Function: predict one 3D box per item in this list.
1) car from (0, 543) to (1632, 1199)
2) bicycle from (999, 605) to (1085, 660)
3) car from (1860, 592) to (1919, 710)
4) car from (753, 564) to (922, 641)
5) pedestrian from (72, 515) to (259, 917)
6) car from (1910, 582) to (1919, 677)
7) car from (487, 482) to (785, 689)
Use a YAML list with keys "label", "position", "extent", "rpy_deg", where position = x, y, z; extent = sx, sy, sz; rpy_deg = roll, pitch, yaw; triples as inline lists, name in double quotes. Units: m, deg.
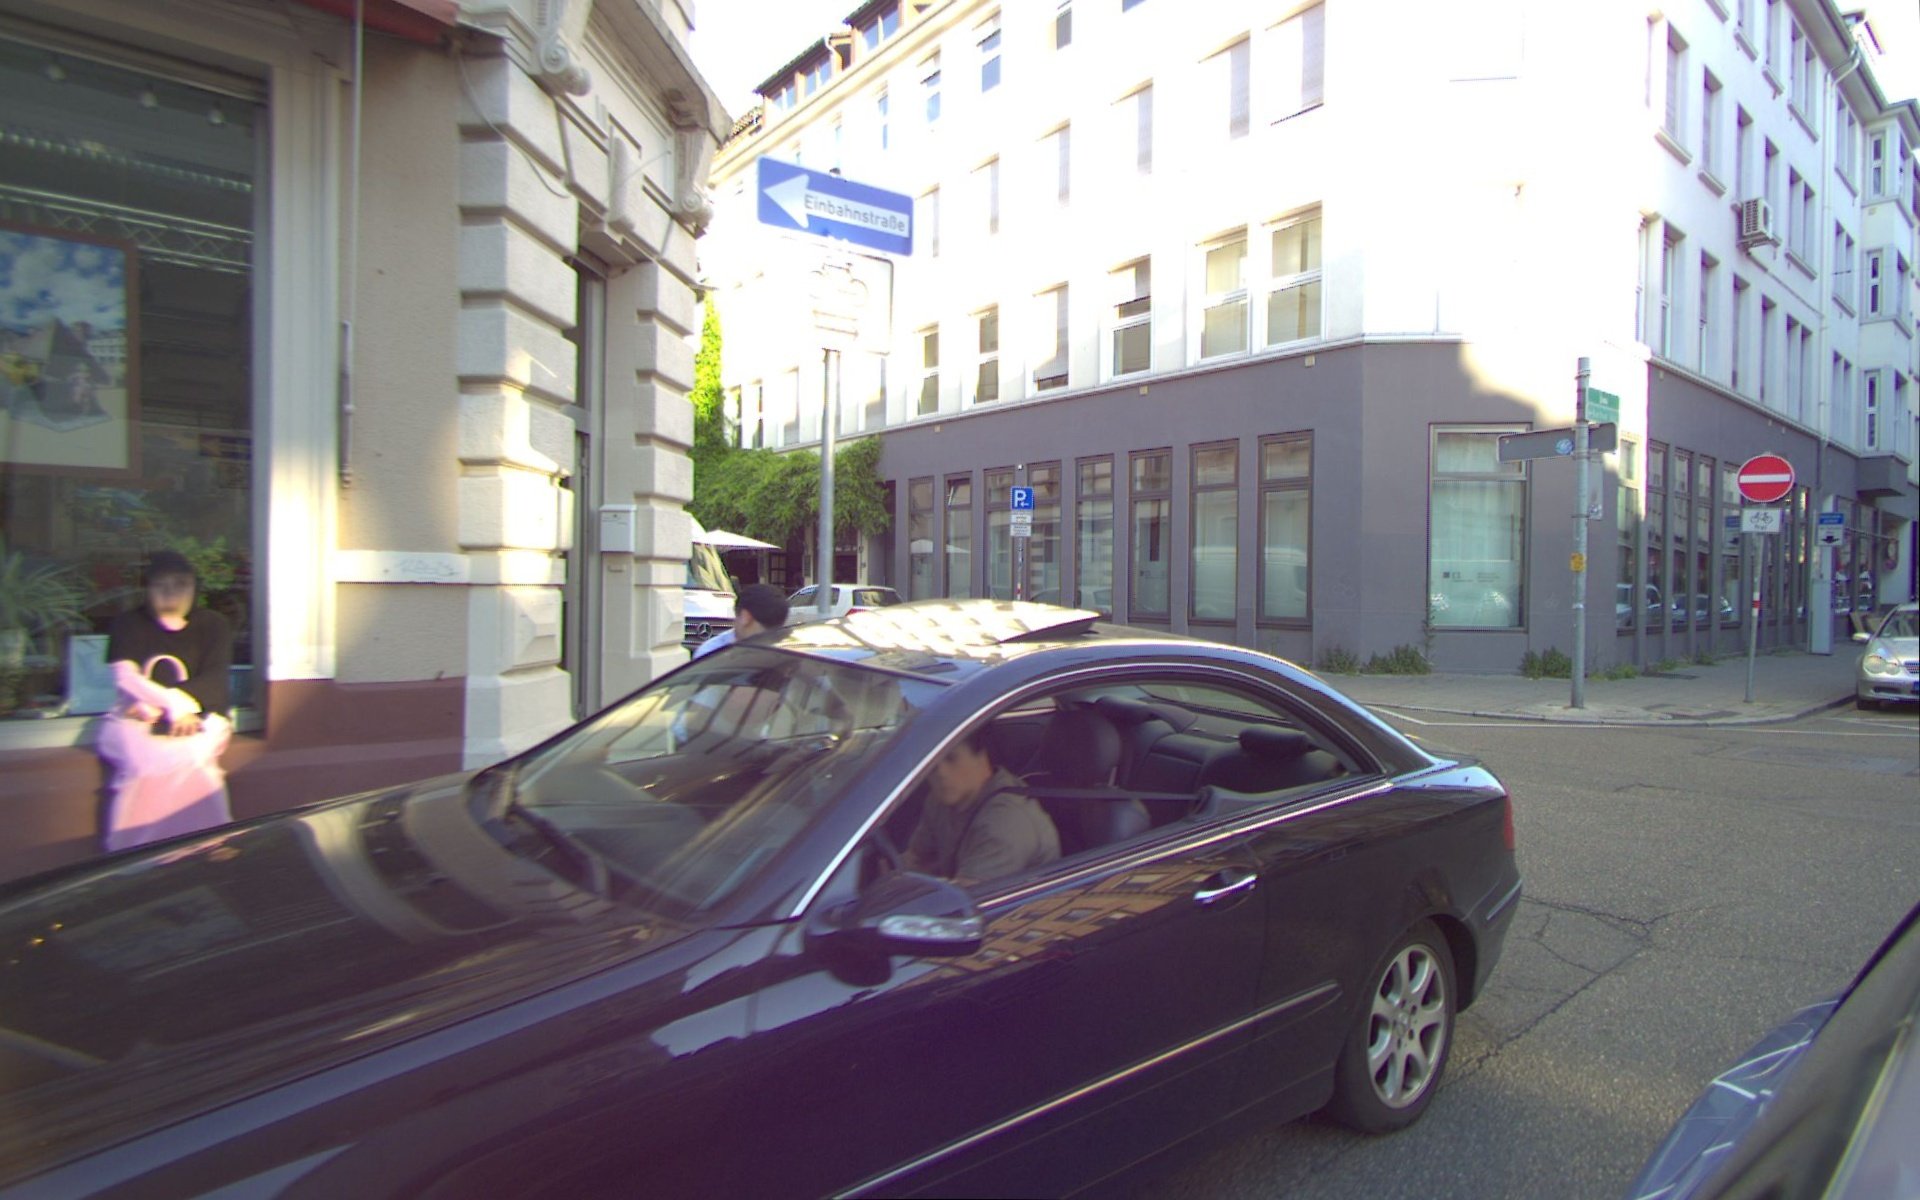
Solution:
- label: "car"
  position: [-0.183, 0.638, 2.750]
  extent: [4.641, 1.426, 1.890]
  rpy_deg: [0, 1, -37]
- label: "bicycle"
  position: [1.474, 0.569, 18.367]
  extent: [0.587, 0.916, 1.643]
  rpy_deg: [0, 1, -38]
- label: "car"
  position: [13.504, 0.619, 13.477]
  extent: [4.410, 1.419, 1.753]
  rpy_deg: [0, 0, -42]
- label: "car"
  position: [-2.621, 0.002, 21.028]
  extent: [1.633, 1.431, 3.878]
  rpy_deg: [1, 1, -40]
- label: "pedestrian"
  position: [-3.284, 0.419, 4.201]
  extent: [0.570, 1.490, 0.716]
  rpy_deg: [0, 1, -39]
- label: "car"
  position: [17.690, 0.502, 16.997]
  extent: [4.043, 1.543, 2.013]
  rpy_deg: [0, 1, -39]
- label: "car"
  position: [-5.124, -0.245, 15.200]
  extent: [2.243, 2.470, 6.199]
  rpy_deg: [0, 1, -38]
